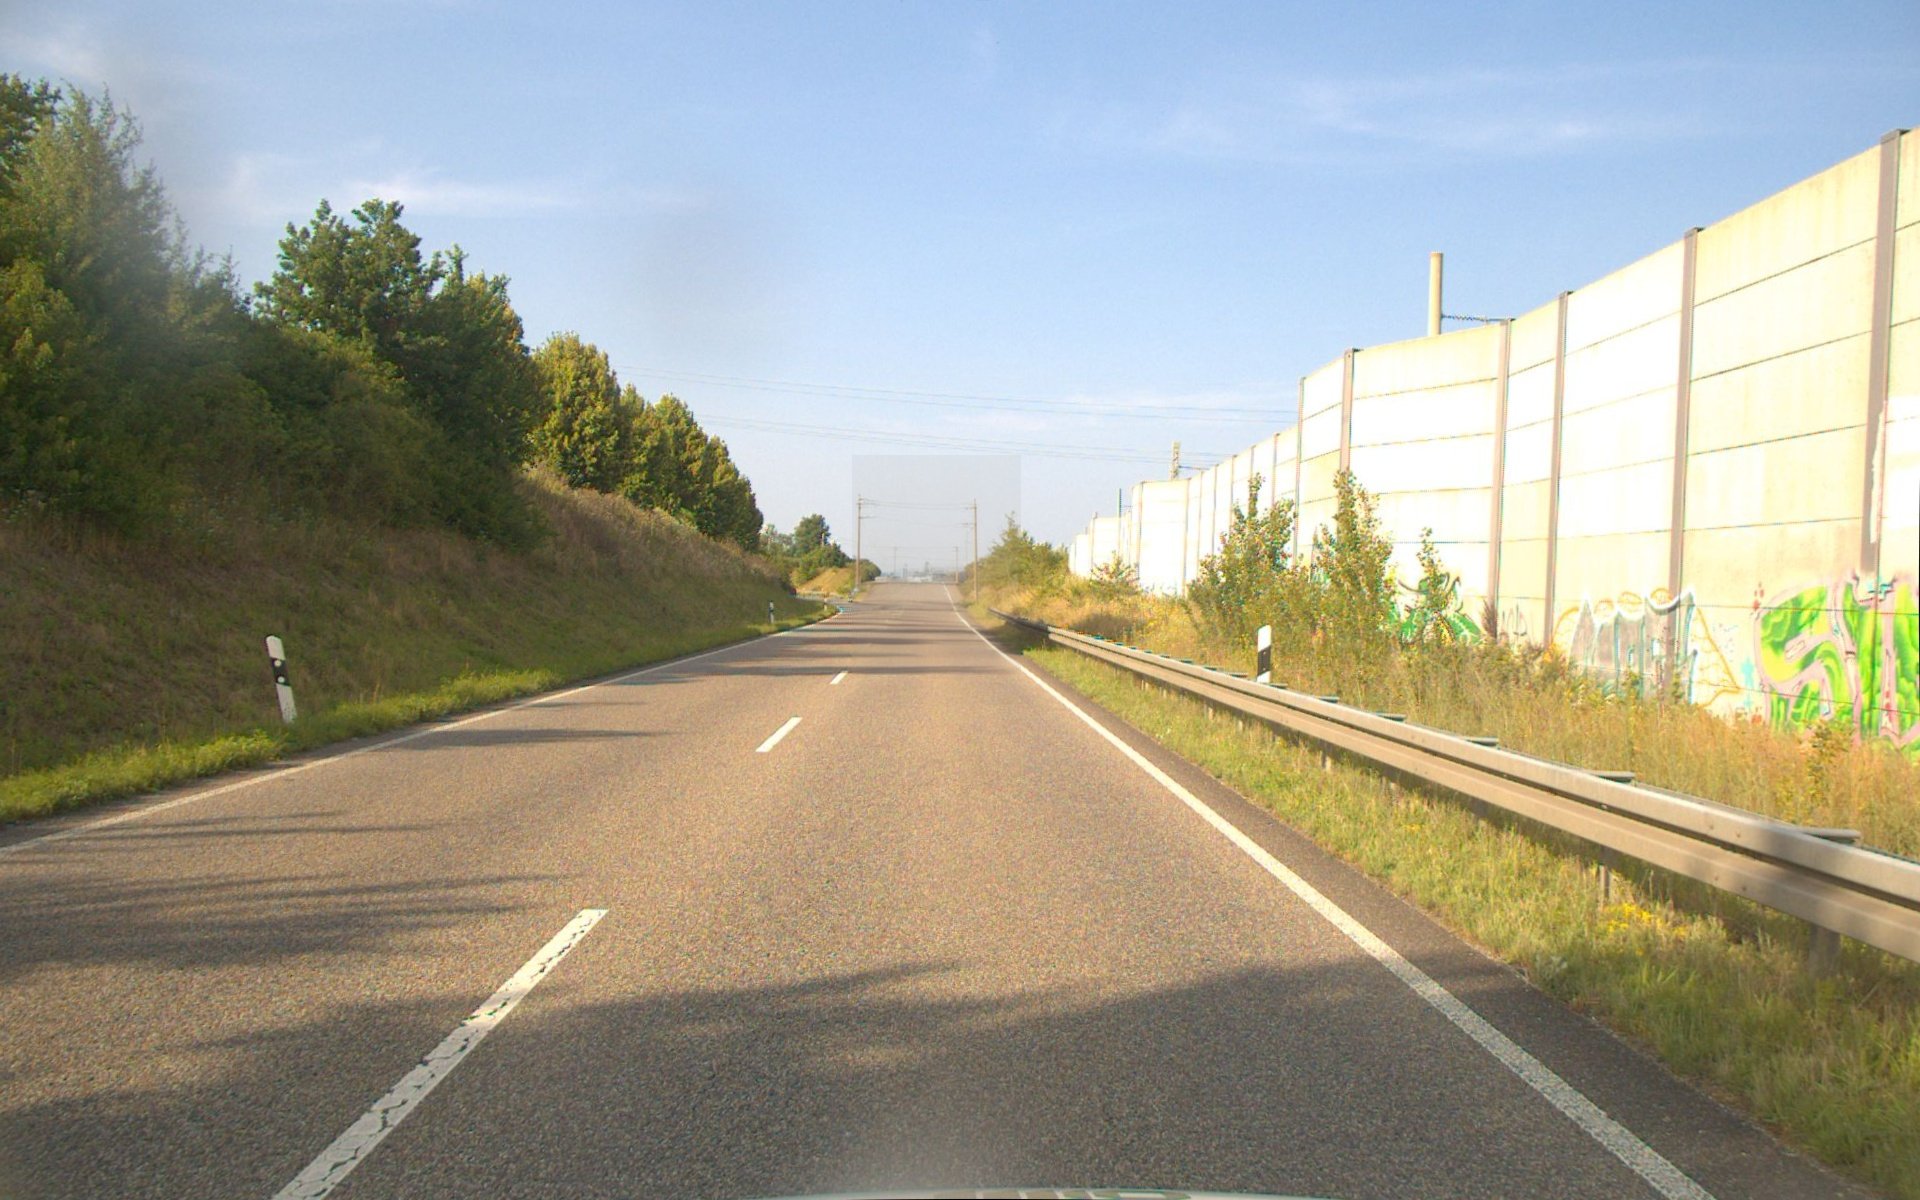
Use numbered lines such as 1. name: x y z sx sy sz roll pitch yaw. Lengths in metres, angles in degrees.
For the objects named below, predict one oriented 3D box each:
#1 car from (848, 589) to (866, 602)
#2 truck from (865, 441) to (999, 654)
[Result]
1. car: -12.793 -0.557 205.554 2.005 1.609 4.359 1 0 -1
2. truck: -0.981 -1.372 46.908 3.225 5.179 12.031 1 1 -3
